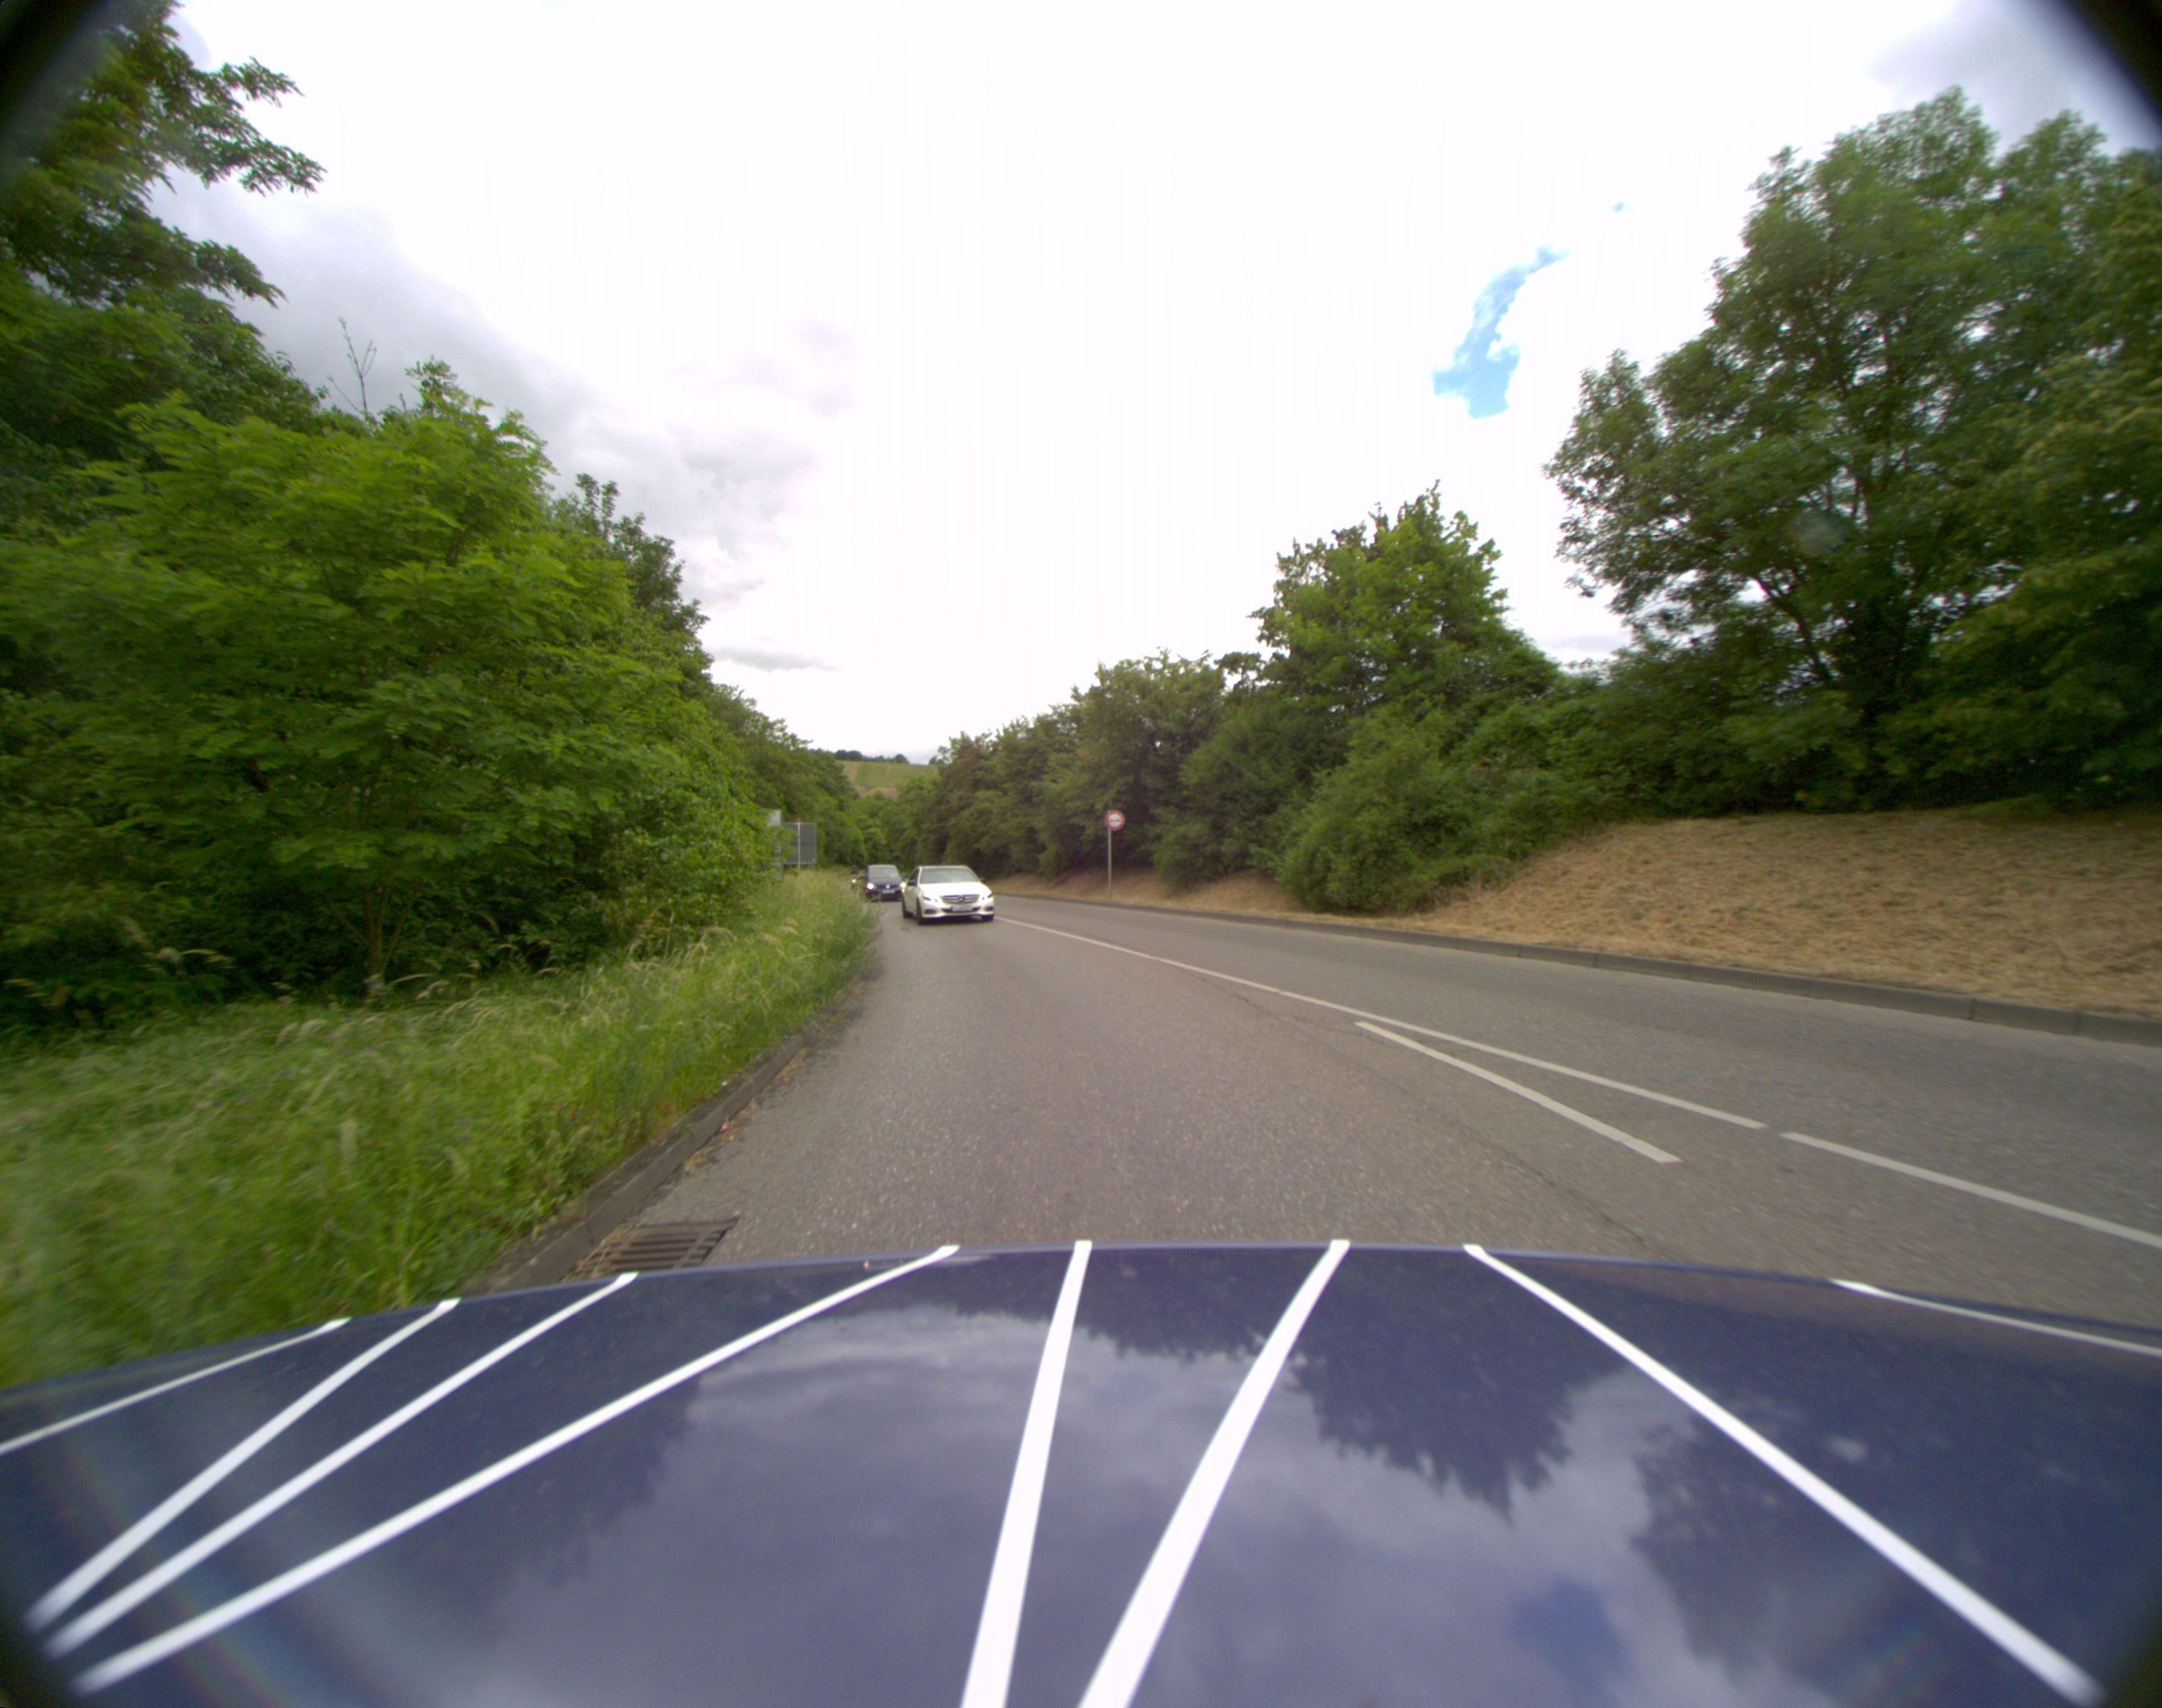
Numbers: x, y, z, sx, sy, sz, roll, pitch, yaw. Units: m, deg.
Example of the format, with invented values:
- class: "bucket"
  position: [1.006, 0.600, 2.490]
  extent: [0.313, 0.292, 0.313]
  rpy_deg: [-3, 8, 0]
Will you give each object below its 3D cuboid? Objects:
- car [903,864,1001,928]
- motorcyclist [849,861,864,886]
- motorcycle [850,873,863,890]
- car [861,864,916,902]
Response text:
- class: "car"
  position: [-3.497, 1.022, 20.009]
  extent: [1.890, 1.414, 3.994]
  rpy_deg: [-2, 0, -19]
- class: "motorcyclist"
  position: [-13.353, 1.135, 45.161]
  extent: [0.820, 1.457, 0.786]
  rpy_deg: [-2, 1, -18]
- class: "motorcycle"
  position: [-13.343, 1.621, 45.170]
  extent: [0.703, 0.970, 1.692]
  rpy_deg: [-2, 0, -18]
- class: "car"
  position: [-8.408, 1.240, 32.965]
  extent: [1.826, 1.535, 3.719]
  rpy_deg: [0, -1, -22]
